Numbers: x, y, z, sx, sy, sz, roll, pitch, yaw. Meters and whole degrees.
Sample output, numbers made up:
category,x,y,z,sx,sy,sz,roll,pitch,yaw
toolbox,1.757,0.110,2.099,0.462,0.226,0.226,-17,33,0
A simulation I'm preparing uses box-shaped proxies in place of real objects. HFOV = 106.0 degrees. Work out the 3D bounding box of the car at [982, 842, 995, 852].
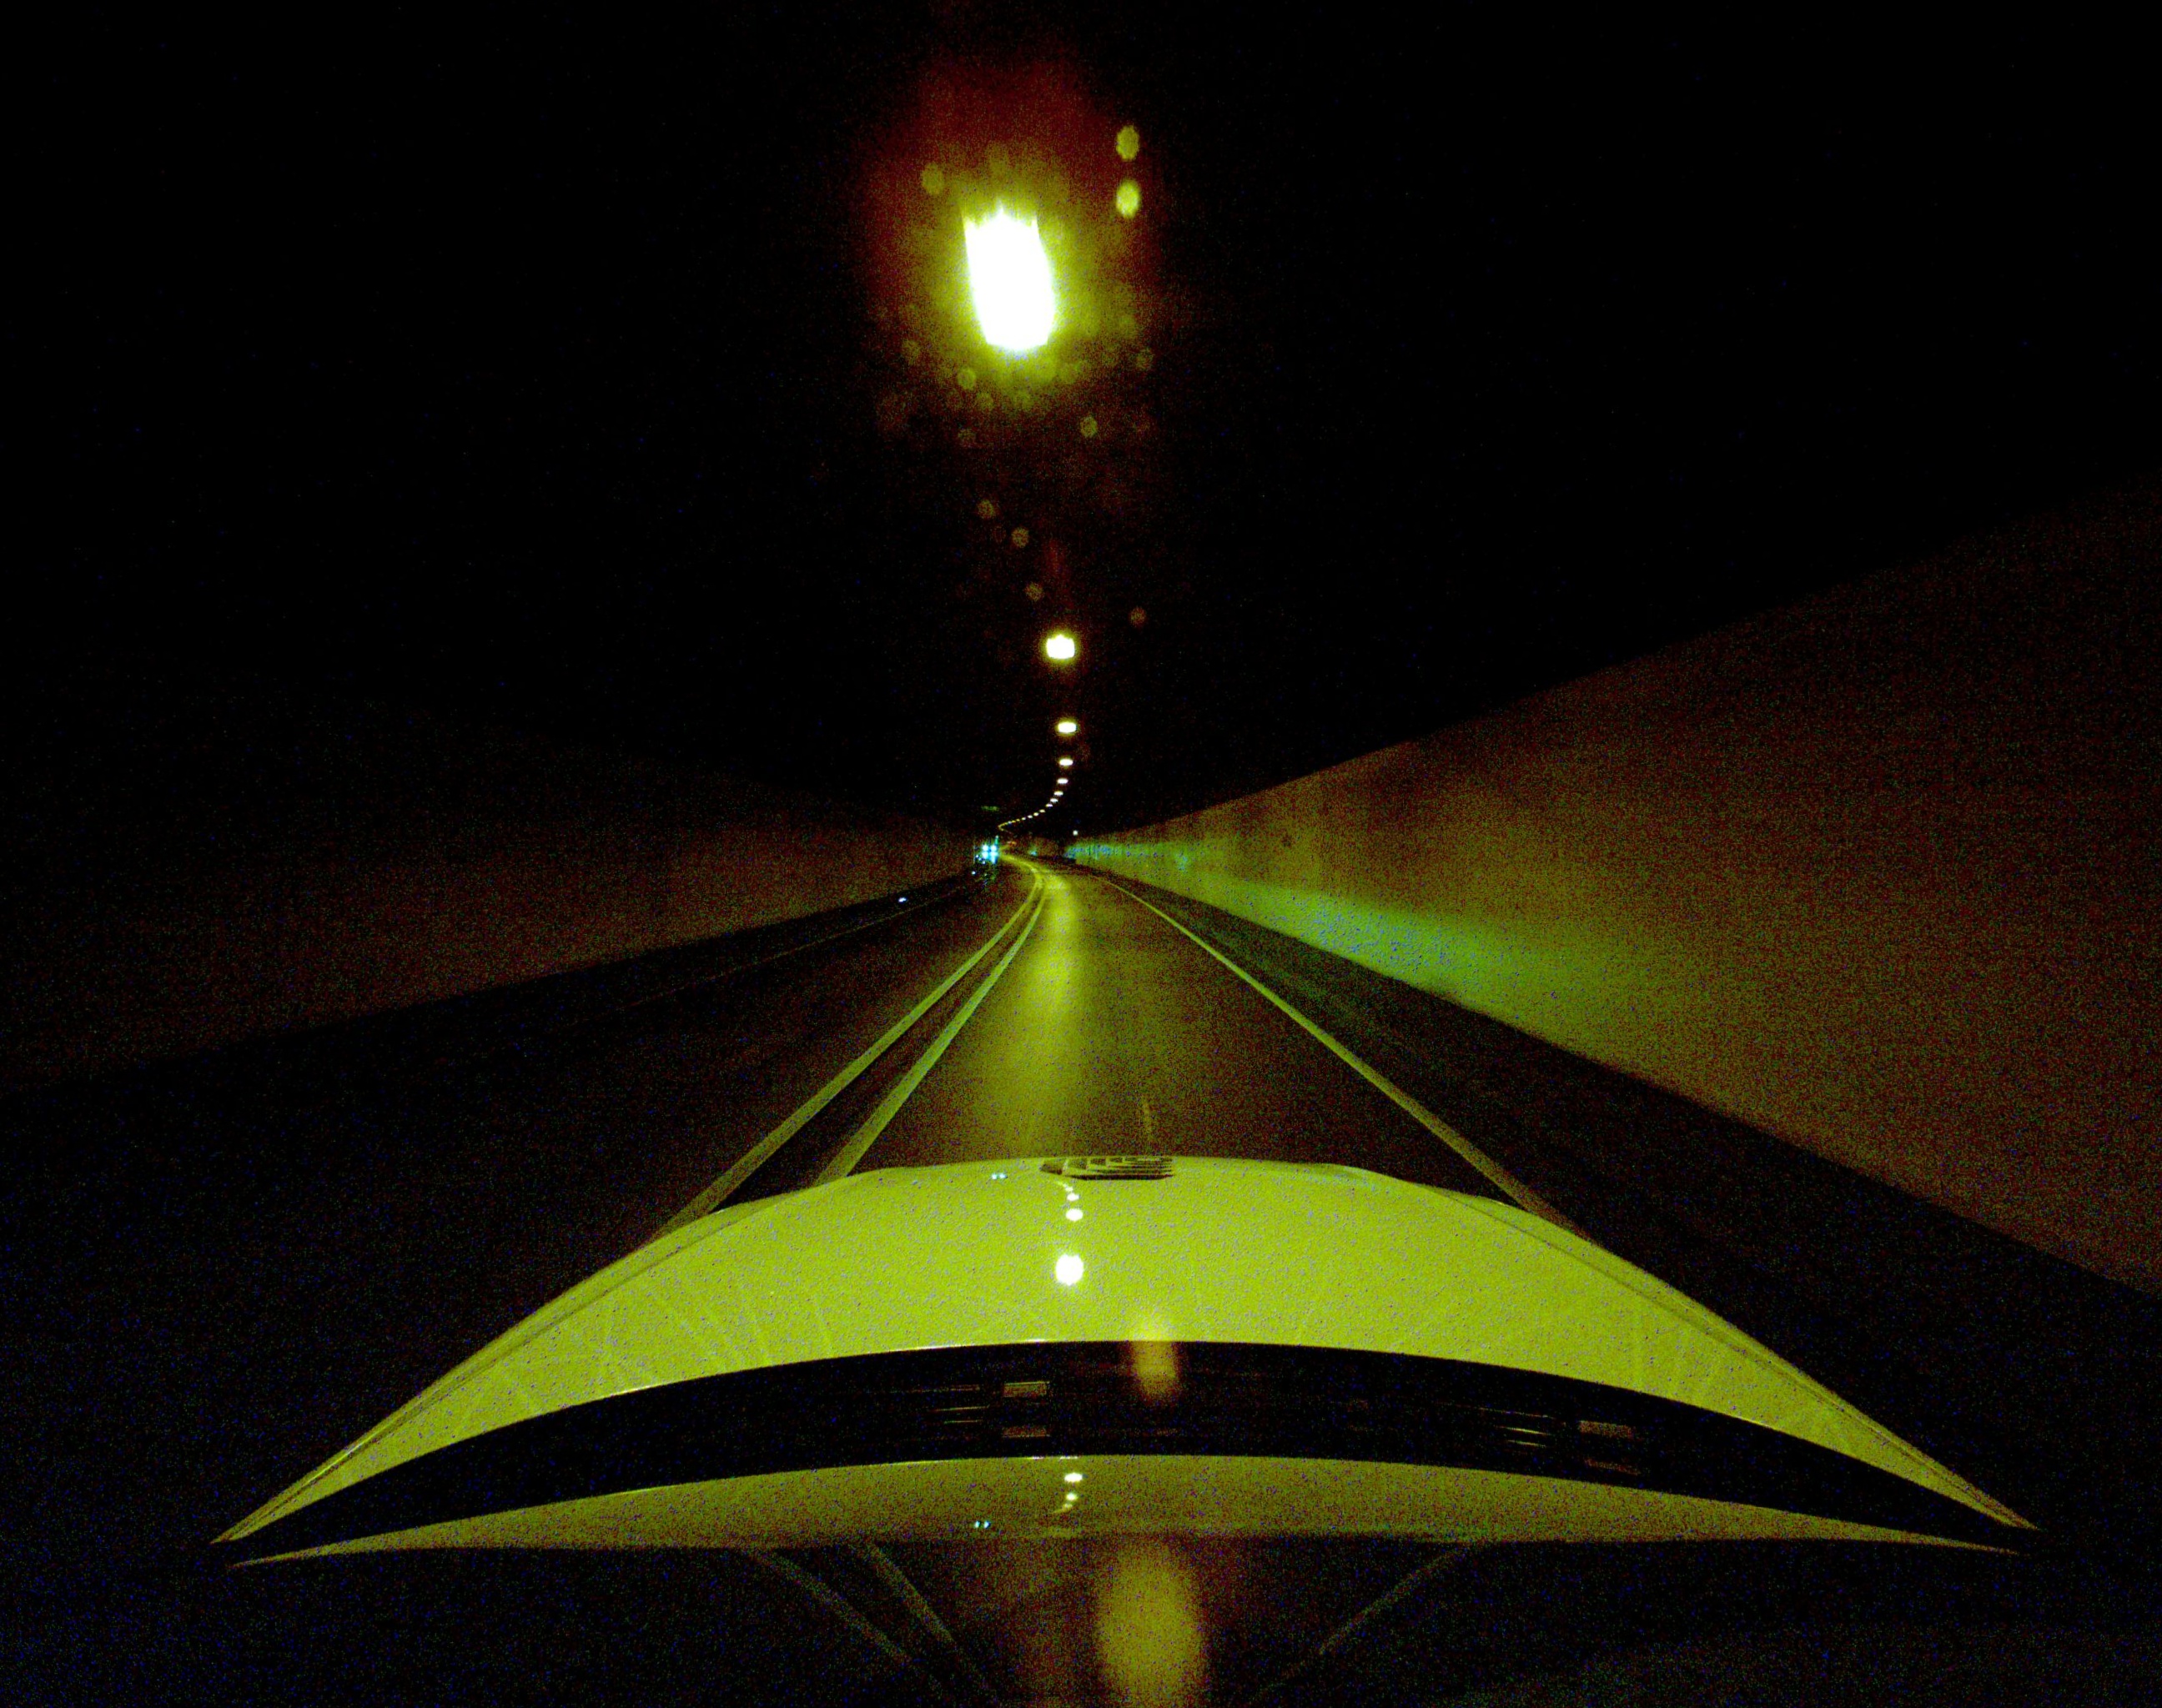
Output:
category,x,y,z,sx,sy,sz,roll,pitch,yaw
car,-16.385,-1.300,143.448,1.994,1.596,3.985,-1,-1,-11

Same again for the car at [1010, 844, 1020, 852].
category,x,y,z,sx,sy,sz,roll,pitch,yaw
car,-13.034,-1.216,161.796,1.596,1.455,3.607,-1,-1,-11
